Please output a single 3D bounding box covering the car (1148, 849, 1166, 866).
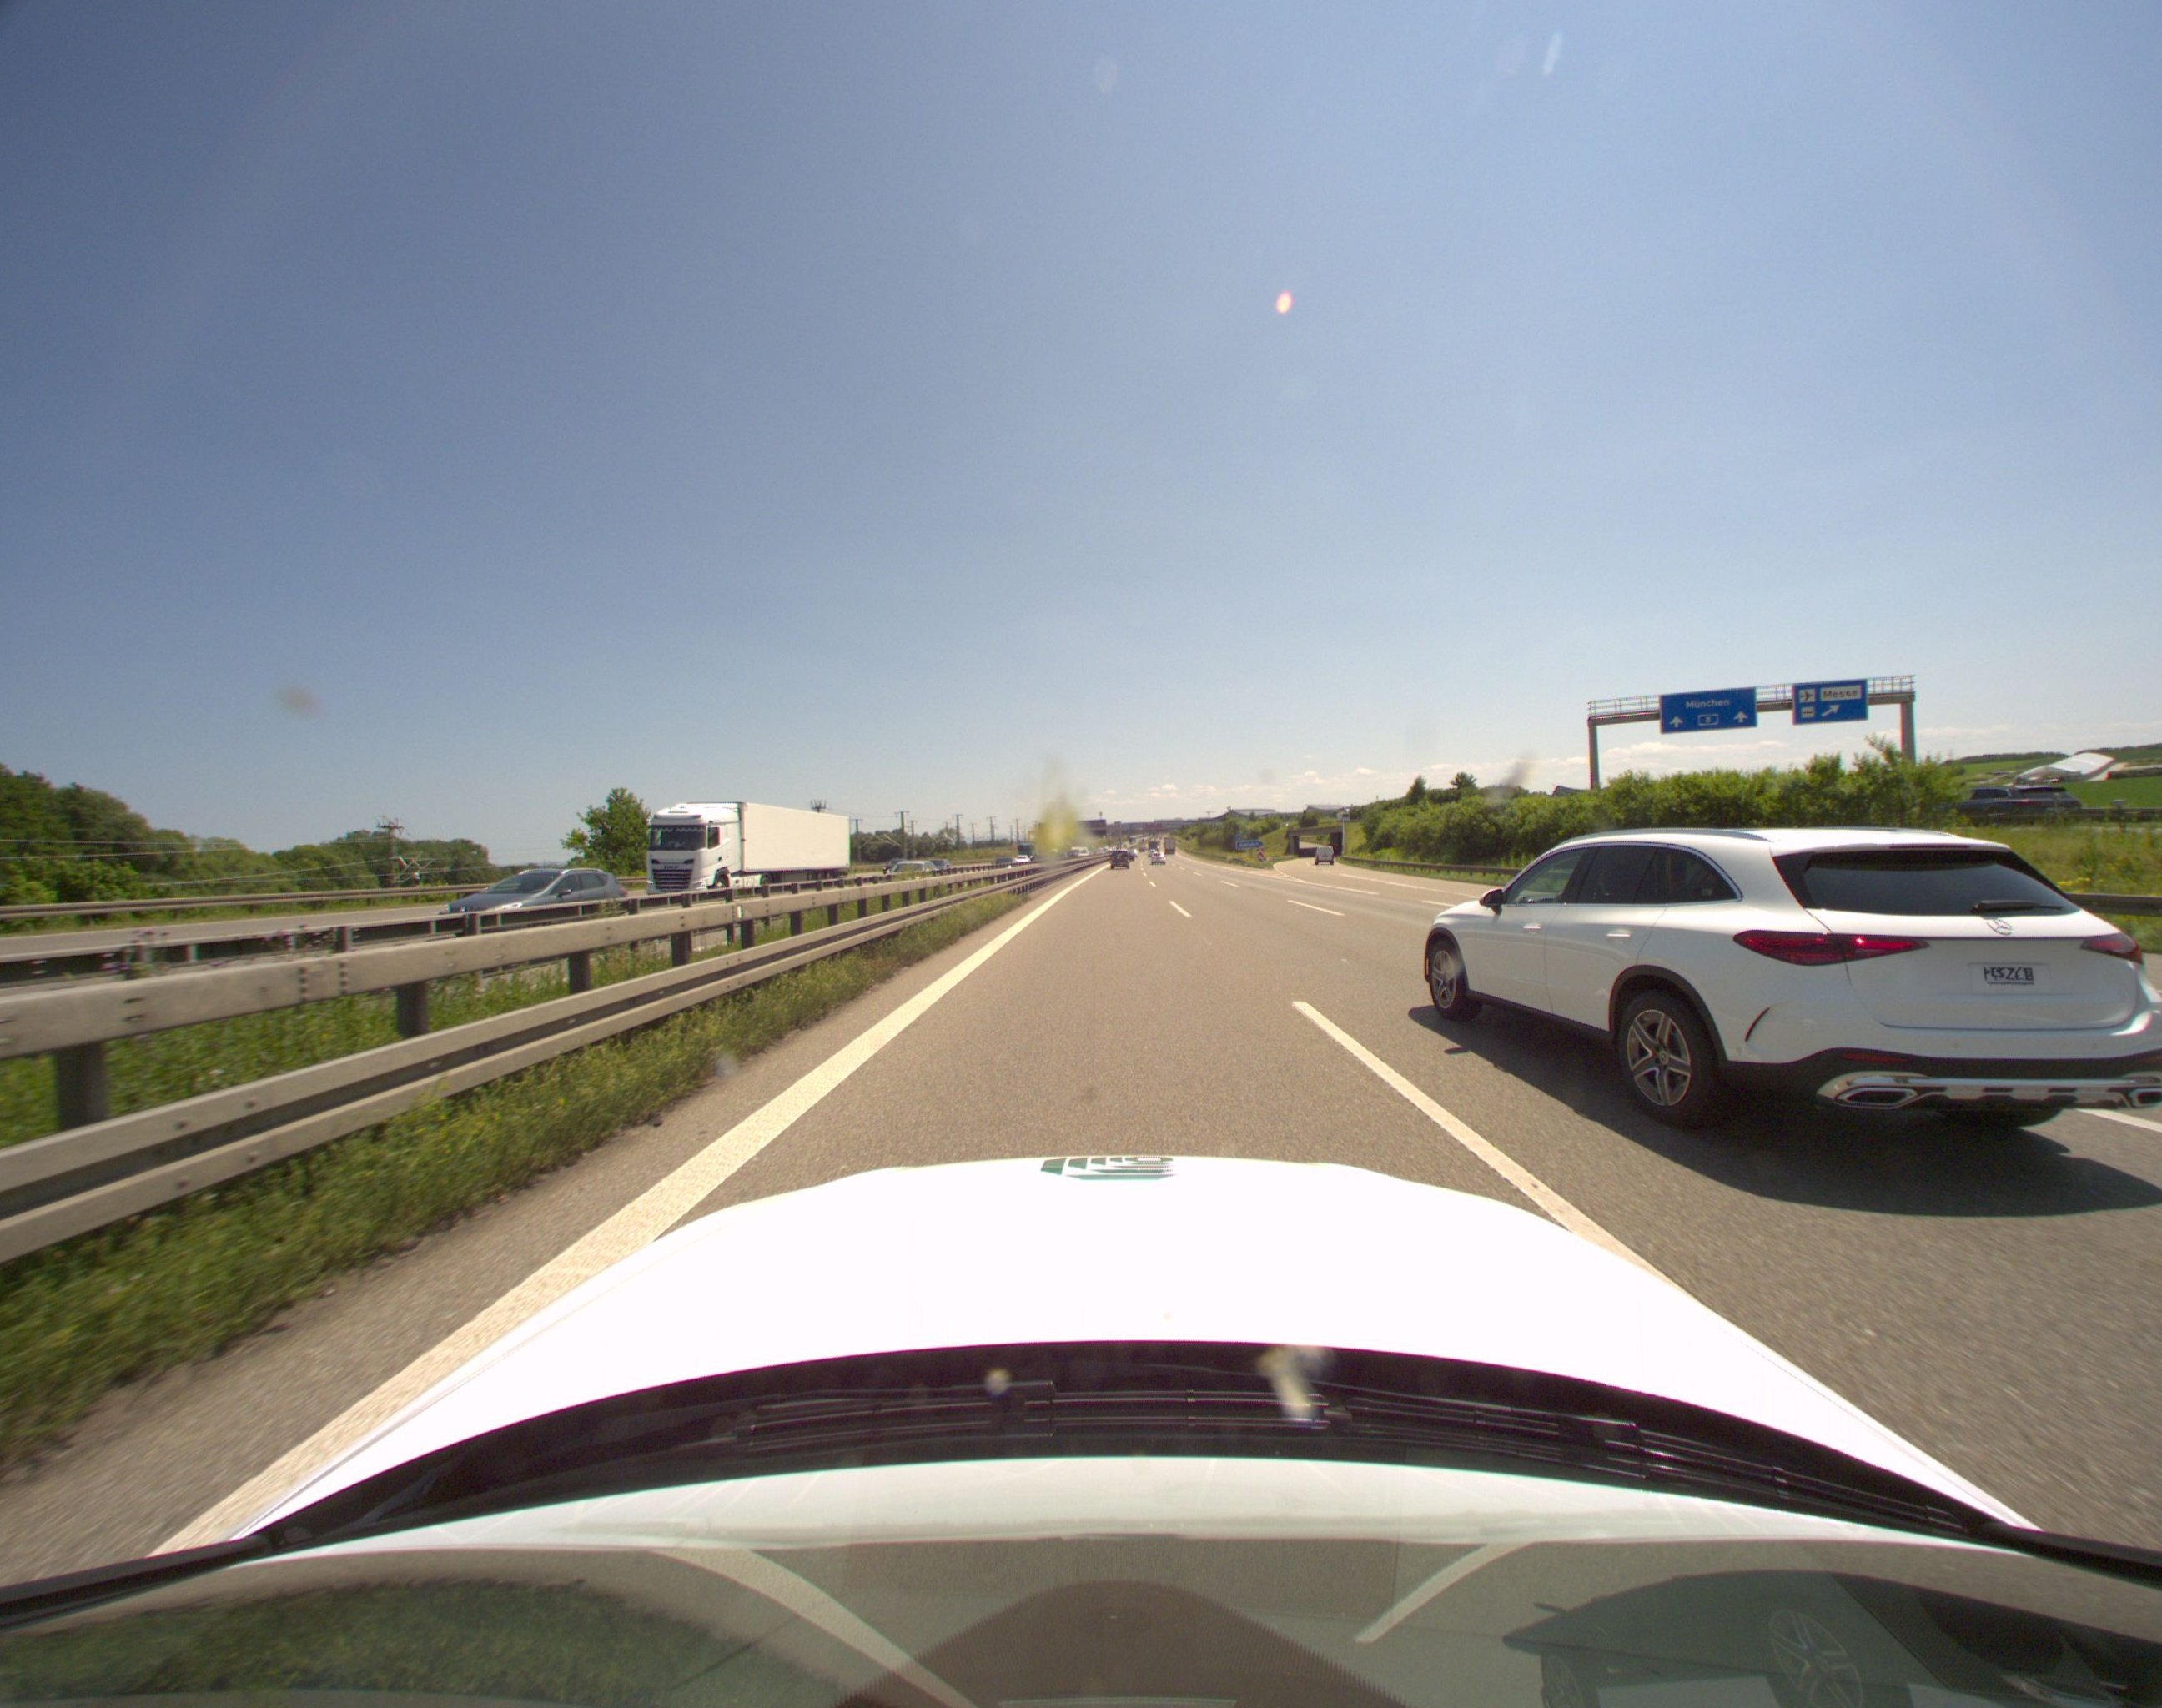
[{"bbox_3d":[9.153,0.445,98.077,1.919,1.919,4.519,-1,-1,2],"label":"car"}]

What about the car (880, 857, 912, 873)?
[{"bbox_3d":[-17.019,1.019,75.213,1.689,1.425,4.458,-1,0,3],"label":"car"}]

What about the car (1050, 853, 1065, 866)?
[{"bbox_3d":[-3.274,0.763,114.811,1.749,1.741,4.724,-1,0,3],"label":"car"}]

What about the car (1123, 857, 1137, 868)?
[{"bbox_3d":[7.582,1.282,126.096,1.917,1.627,4.525,-1,-1,6],"label":"car"}]

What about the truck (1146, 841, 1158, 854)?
[{"bbox_3d":[18.424,-1.534,211.782,2.690,3.109,10.669,-1,-1,4],"label":"truck"}]

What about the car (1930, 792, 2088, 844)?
[{"bbox_3d":[32.728,-1.214,28.918,1.687,1.575,4.145,-1,-1,16],"label":"car"}]

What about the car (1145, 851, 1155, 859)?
[{"bbox_3d":[13.599,0.237,161.041,1.973,1.473,4.004,-1,-1,4],"label":"car"}]

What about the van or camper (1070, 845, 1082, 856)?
[{"bbox_3d":[-1.354,-0.889,214.093,2.506,2.665,8.073,-1,0,4],"label":"van or camper"}]

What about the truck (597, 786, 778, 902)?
[{"bbox_3d":[-15.815,-0.359,33.625,3.233,4.209,7.701,-1,0,4],"label":"truck"}]

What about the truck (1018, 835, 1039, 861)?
[{"bbox_3d":[-9.011,-1.006,139.536,2.748,4.245,6.981,-1,-1,2],"label":"truck"}]

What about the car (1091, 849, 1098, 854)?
[{"bbox_3d":[3.875,-0.692,234.179,1.686,1.347,4.004,-1,0,4],"label":"car"}]

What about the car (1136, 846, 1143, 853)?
[{"bbox_3d":[18.175,-1.535,252.351,2.177,2.002,4.004,-1,2,2],"label":"car"}]

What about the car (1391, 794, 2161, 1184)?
[{"bbox_3d":[4.081,0.617,5.971,1.890,1.647,5.001,-1,-1,2],"label":"car"}]

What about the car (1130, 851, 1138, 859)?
[{"bbox_3d":[10.706,0.291,163.342,1.569,1.552,3.968,-1,-1,4],"label":"car"}]

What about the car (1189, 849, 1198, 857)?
[{"bbox_3d":[27.852,-0.349,201.604,1.919,1.919,4.520,-1,0,2],"label":"car"}]

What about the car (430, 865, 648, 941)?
[{"bbox_3d":[-12.737,1.057,19.665,1.736,1.508,5.103,-1,0,1],"label":"car"}]

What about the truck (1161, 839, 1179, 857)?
[{"bbox_3d":[22.237,-1.562,204.953,4.021,4.261,11.771,-1,2,4],"label":"truck"}]

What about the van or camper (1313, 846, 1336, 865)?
[{"bbox_3d":[26.562,0.214,88.953,2.140,2.014,4.320,-1,-1,14],"label":"van or camper"}]

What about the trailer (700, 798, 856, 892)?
[{"bbox_3d":[-15.185,-0.330,42.317,3.209,4.193,11.419,-1,-1,3],"label":"trailer"}]

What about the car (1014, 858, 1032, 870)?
[{"bbox_3d":[-7.546,1.256,106.335,1.749,1.481,4.637,-1,0,3],"label":"car"}]

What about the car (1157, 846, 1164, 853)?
[{"bbox_3d":[23.689,-1.346,241.723,1.933,1.765,4.004,-1,2,2],"label":"car"}]

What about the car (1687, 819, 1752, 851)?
[{"bbox_3d":[42.491,-1.242,54.270,1.924,1.923,4.196,-1,-1,16],"label":"car"}]

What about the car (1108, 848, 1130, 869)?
[{"bbox_3d":[3.626,0.487,77.828,1.918,1.919,4.953,-1,-1,4],"label":"car"}]

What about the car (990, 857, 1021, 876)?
[{"bbox_3d":[-6.142,1.012,66.852,1.834,1.460,5.000,-1,0,3],"label":"car"}]

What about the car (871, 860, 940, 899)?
[{"bbox_3d":[-7.852,1.086,36.960,1.724,1.588,5.359,-1,0,3],"label":"car"}]

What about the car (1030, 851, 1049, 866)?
[{"bbox_3d":[-4.687,0.520,92.220,1.749,1.669,4.700,-1,0,2],"label":"car"}]
